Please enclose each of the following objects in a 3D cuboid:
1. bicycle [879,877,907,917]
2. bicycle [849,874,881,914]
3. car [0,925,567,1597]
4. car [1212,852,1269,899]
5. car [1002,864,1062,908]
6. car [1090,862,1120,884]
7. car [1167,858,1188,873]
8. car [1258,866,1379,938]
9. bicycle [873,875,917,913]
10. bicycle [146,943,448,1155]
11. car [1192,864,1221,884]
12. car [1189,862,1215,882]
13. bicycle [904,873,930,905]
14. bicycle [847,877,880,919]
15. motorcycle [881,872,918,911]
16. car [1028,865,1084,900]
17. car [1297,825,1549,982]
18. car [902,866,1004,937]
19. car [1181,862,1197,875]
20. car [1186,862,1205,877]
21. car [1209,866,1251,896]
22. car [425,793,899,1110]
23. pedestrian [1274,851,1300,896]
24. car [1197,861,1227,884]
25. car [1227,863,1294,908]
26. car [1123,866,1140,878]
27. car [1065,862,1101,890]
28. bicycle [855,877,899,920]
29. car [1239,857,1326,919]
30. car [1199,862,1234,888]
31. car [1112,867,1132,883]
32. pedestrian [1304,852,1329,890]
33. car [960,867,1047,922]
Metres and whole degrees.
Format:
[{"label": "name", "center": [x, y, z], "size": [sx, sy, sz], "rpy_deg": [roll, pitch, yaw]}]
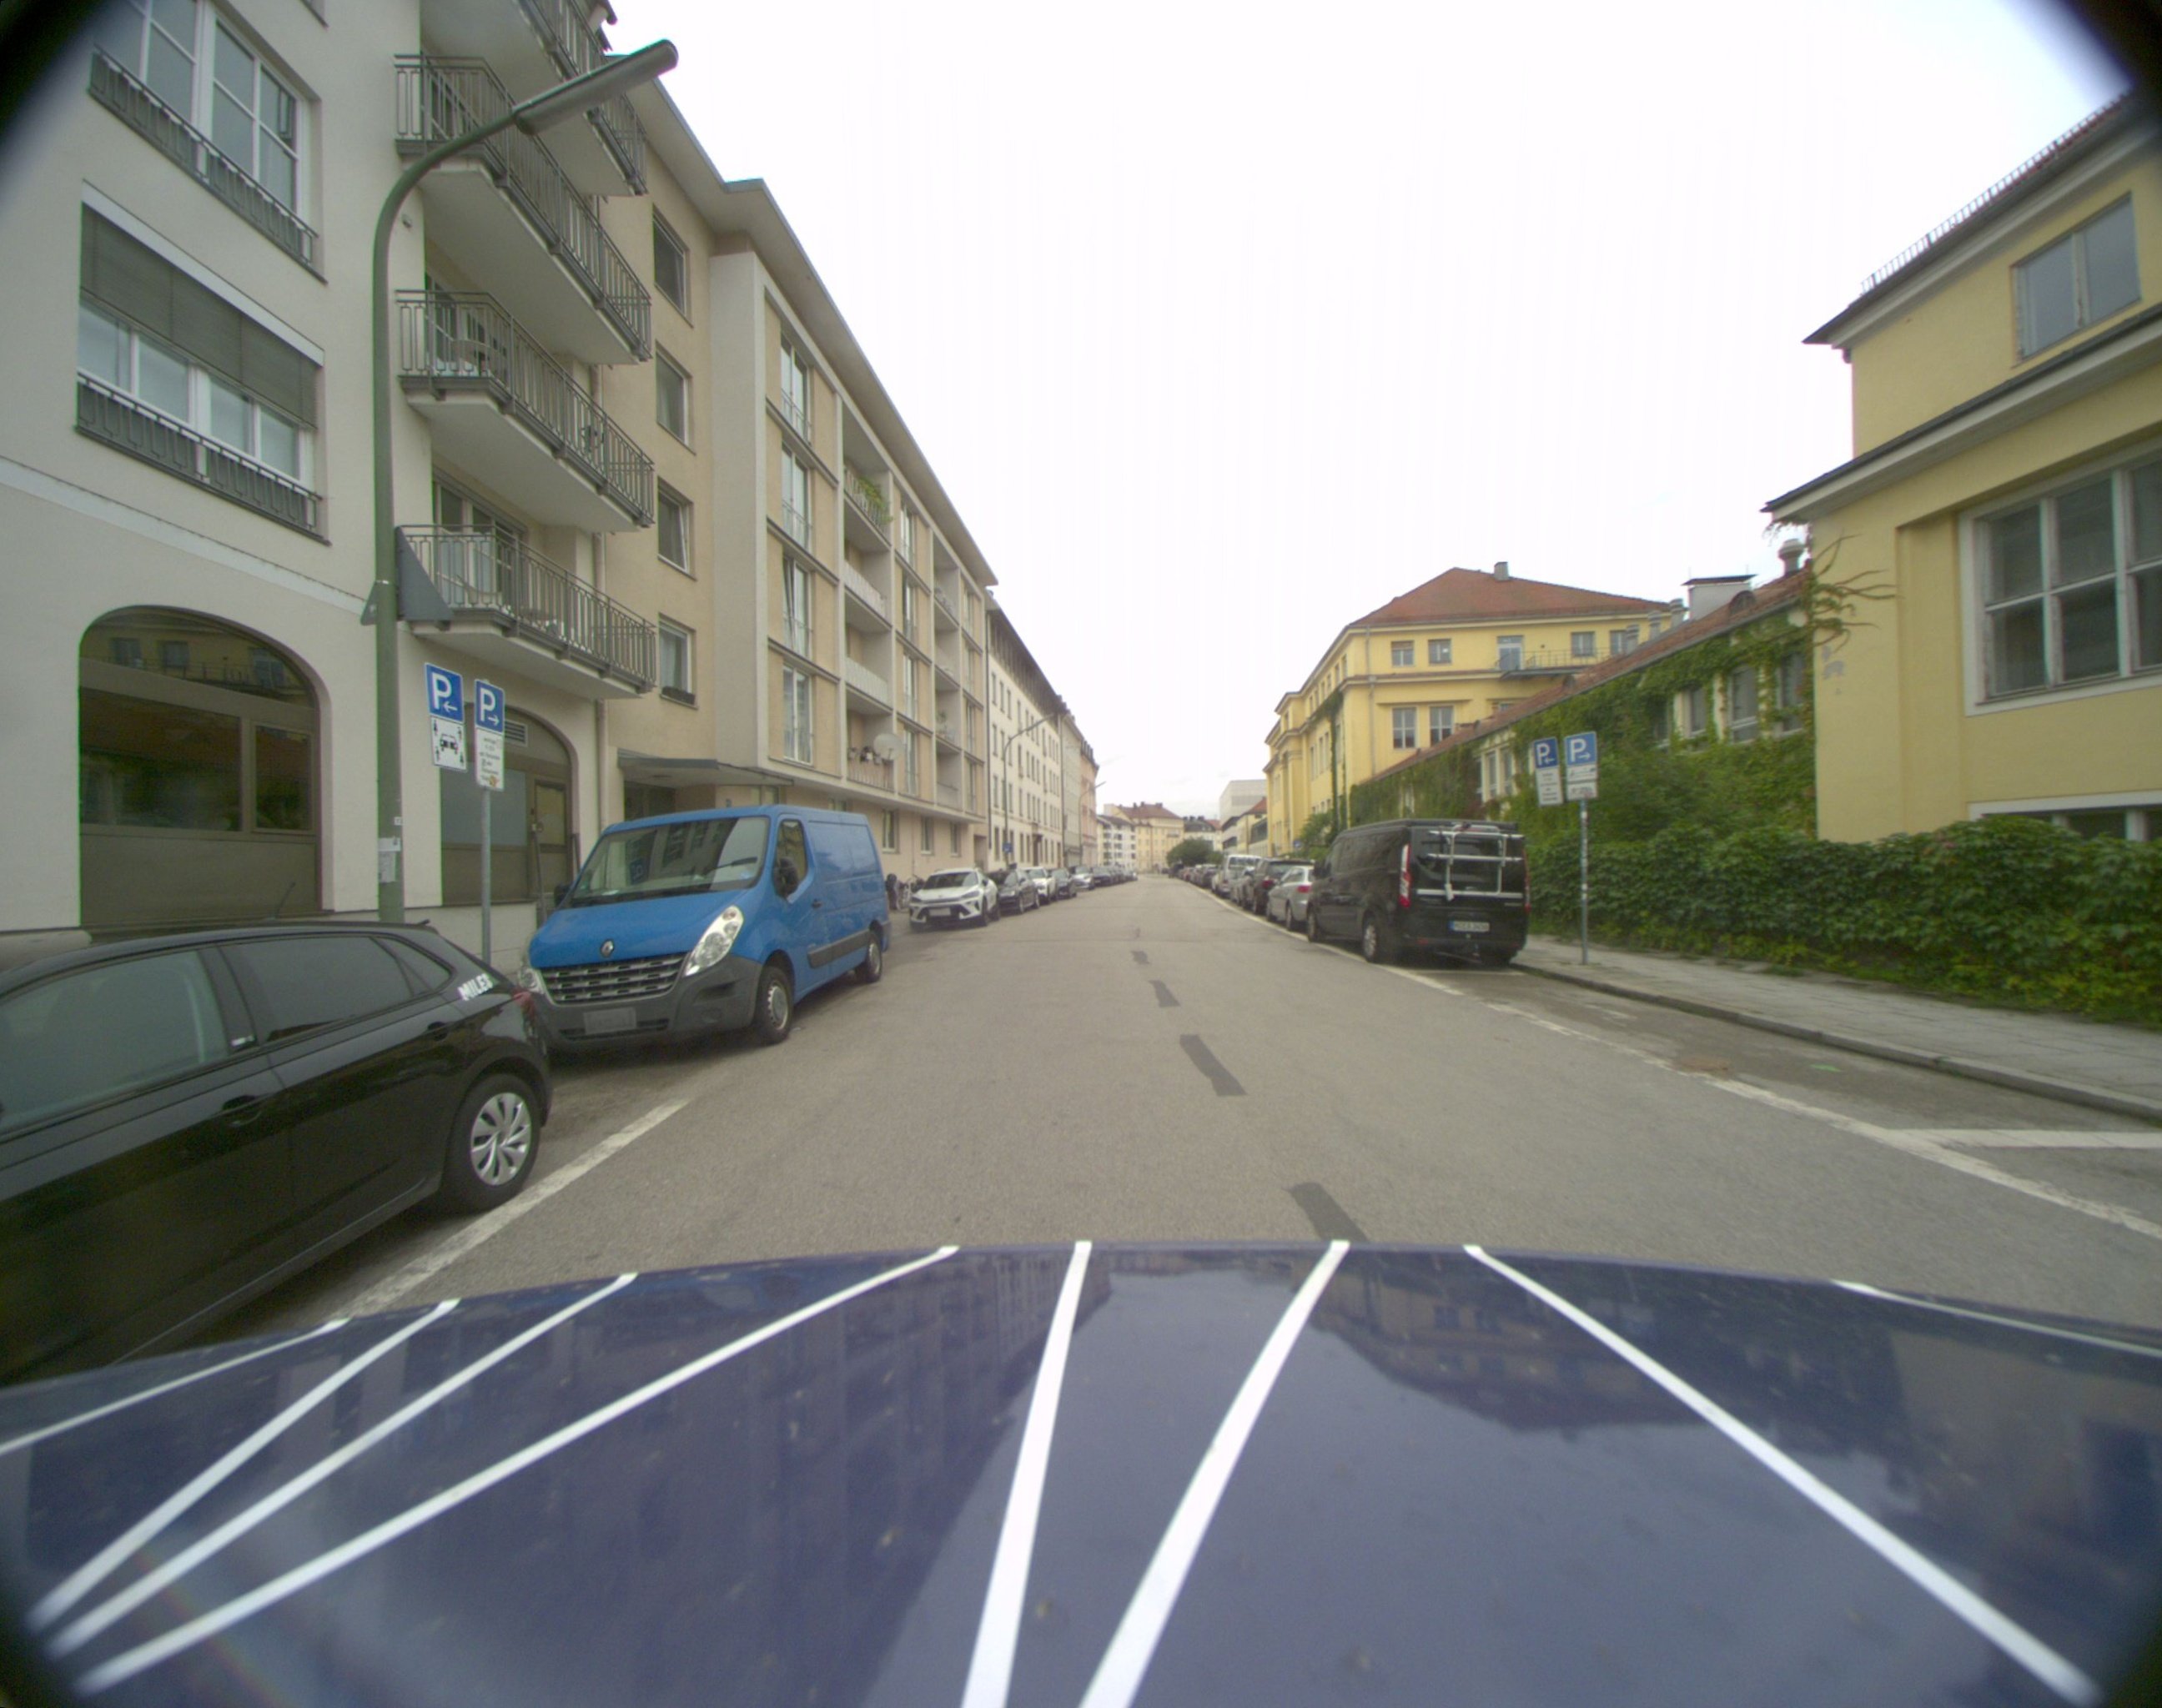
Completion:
[{"label": "bicycle", "center": [-6.055, 1.361, 24.476], "size": [0.448, 1.195, 1.371], "rpy_deg": [2, 1, 4]}, {"label": "bicycle", "center": [-6.915, 1.273, 24.358], "size": [0.393, 1.195, 1.343], "rpy_deg": [2, 1, 11]}, {"label": "car", "center": [-3.456, 1.113, 1.955], "size": [1.719, 1.386, 3.998], "rpy_deg": [-4, 0, -5]}, {"label": "car", "center": [6.880, 0.906, 33.228], "size": [1.897, 1.788, 4.884], "rpy_deg": [3, 0, 6]}, {"label": "car", "center": [-1.867, 1.210, 30.200], "size": [1.705, 1.459, 4.122], "rpy_deg": [-5, -1, 4]}, {"label": "car", "center": [1.813, 1.383, 55.773], "size": [1.877, 1.439, 4.703], "rpy_deg": [-2, -1, 5]}, {"label": "car", "center": [16.760, 2.060, 132.242], "size": [2.847, 2.536, 6.894], "rpy_deg": [0, -1, 0]}, {"label": "car", "center": [5.261, 0.994, 17.347], "size": [1.710, 1.357, 4.003], "rpy_deg": [3, -1, 4]}, {"label": "bicycle", "center": [-6.209, 1.341, 25.414], "size": [1.342, 1.195, 0.393], "rpy_deg": [2, 1, -7]}, {"label": "bicycle", "center": [-5.428, 1.267, 5.439], "size": [0.567, 1.063, 1.786], "rpy_deg": [-1, -1, -11]}, {"label": "car", "center": [9.719, 1.529, 59.113], "size": [1.777, 1.400, 4.603], "rpy_deg": [3, -1, 4]}, {"label": "car", "center": [10.478, 1.530, 66.063], "size": [1.785, 1.631, 4.302], "rpy_deg": [3, -1, 4]}, {"label": "bicycle", "center": [-6.265, 1.336, 29.135], "size": [0.514, 1.150, 1.601], "rpy_deg": [0, 0, 5]}, {"label": "bicycle", "center": [-6.657, 1.333, 23.309], "size": [0.417, 1.195, 1.286], "rpy_deg": [2, 1, 10]}, {"label": "motorcycle", "center": [-6.393, 1.305, 26.899], "size": [0.637, 1.263, 2.042], "rpy_deg": [0, 0, 5]}, {"label": "car", "center": [-1.052, 1.259, 34.621], "size": [1.831, 1.373, 4.494], "rpy_deg": [-3, -1, 7]}, {"label": "car", "center": [5.081, 0.677, 12.140], "size": [1.930, 1.967, 4.623], "rpy_deg": [2, -1, 1]}, {"label": "car", "center": [-3.190, 1.153, 19.840], "size": [1.780, 1.513, 4.305], "rpy_deg": [-5, -1, 0]}, {"label": "car", "center": [13.548, 1.796, 95.457], "size": [1.773, 1.545, 4.212], "rpy_deg": [2, 0, 6]}, {"label": "car", "center": [11.562, 1.567, 77.135], "size": [1.737, 1.430, 3.782], "rpy_deg": [2, -1, 6]}, {"label": "car", "center": [7.439, 1.316, 38.128], "size": [1.670, 1.401, 3.561], "rpy_deg": [2, -1, 5]}, {"label": "car", "center": [-3.753, 0.690, 8.244], "size": [2.114, 2.201, 5.027], "rpy_deg": [-6, 1, 0]}, {"label": "pedestrian", "center": [8.163, 0.760, 30.090], "size": [0.844, 1.744, 0.873], "rpy_deg": [-1, 0, 7]}, {"label": "car", "center": [9.120, 1.273, 53.230], "size": [1.773, 1.494, 4.276], "rpy_deg": [2, -1, 6]}, {"label": "car", "center": [6.491, 1.099, 27.921], "size": [1.807, 1.369, 4.493], "rpy_deg": [4, 0, 6]}, {"label": "car", "center": [6.756, 2.392, 101.964], "size": [2.000, 1.563, 4.494], "rpy_deg": [-3, -1, 6]}, {"label": "car", "center": [0.159, 1.313, 45.726], "size": [1.618, 1.507, 3.382], "rpy_deg": [-5, -1, 7]}, {"label": "bicycle", "center": [-6.141, 1.332, 22.916], "size": [0.397, 1.195, 1.569], "rpy_deg": [3, 1, 22]}, {"label": "car", "center": [5.874, 0.943, 22.652], "size": [1.705, 1.597, 4.493], "rpy_deg": [2, 0, 5]}, {"label": "car", "center": [8.567, 1.289, 48.315], "size": [1.721, 1.472, 4.222], "rpy_deg": [3, 0, 5]}, {"label": "car", "center": [4.323, 2.182, 79.594], "size": [1.768, 1.531, 4.003], "rpy_deg": [-4, -1, 7]}, {"label": "pedestrian", "center": [9.605, 0.688, 31.016], "size": [0.844, 1.485, 0.873], "rpy_deg": [-1, 0, 7]}, {"label": "car", "center": [-2.426, 1.258, 25.090], "size": [1.776, 1.420, 4.696], "rpy_deg": [-6, -1, 7]}]
